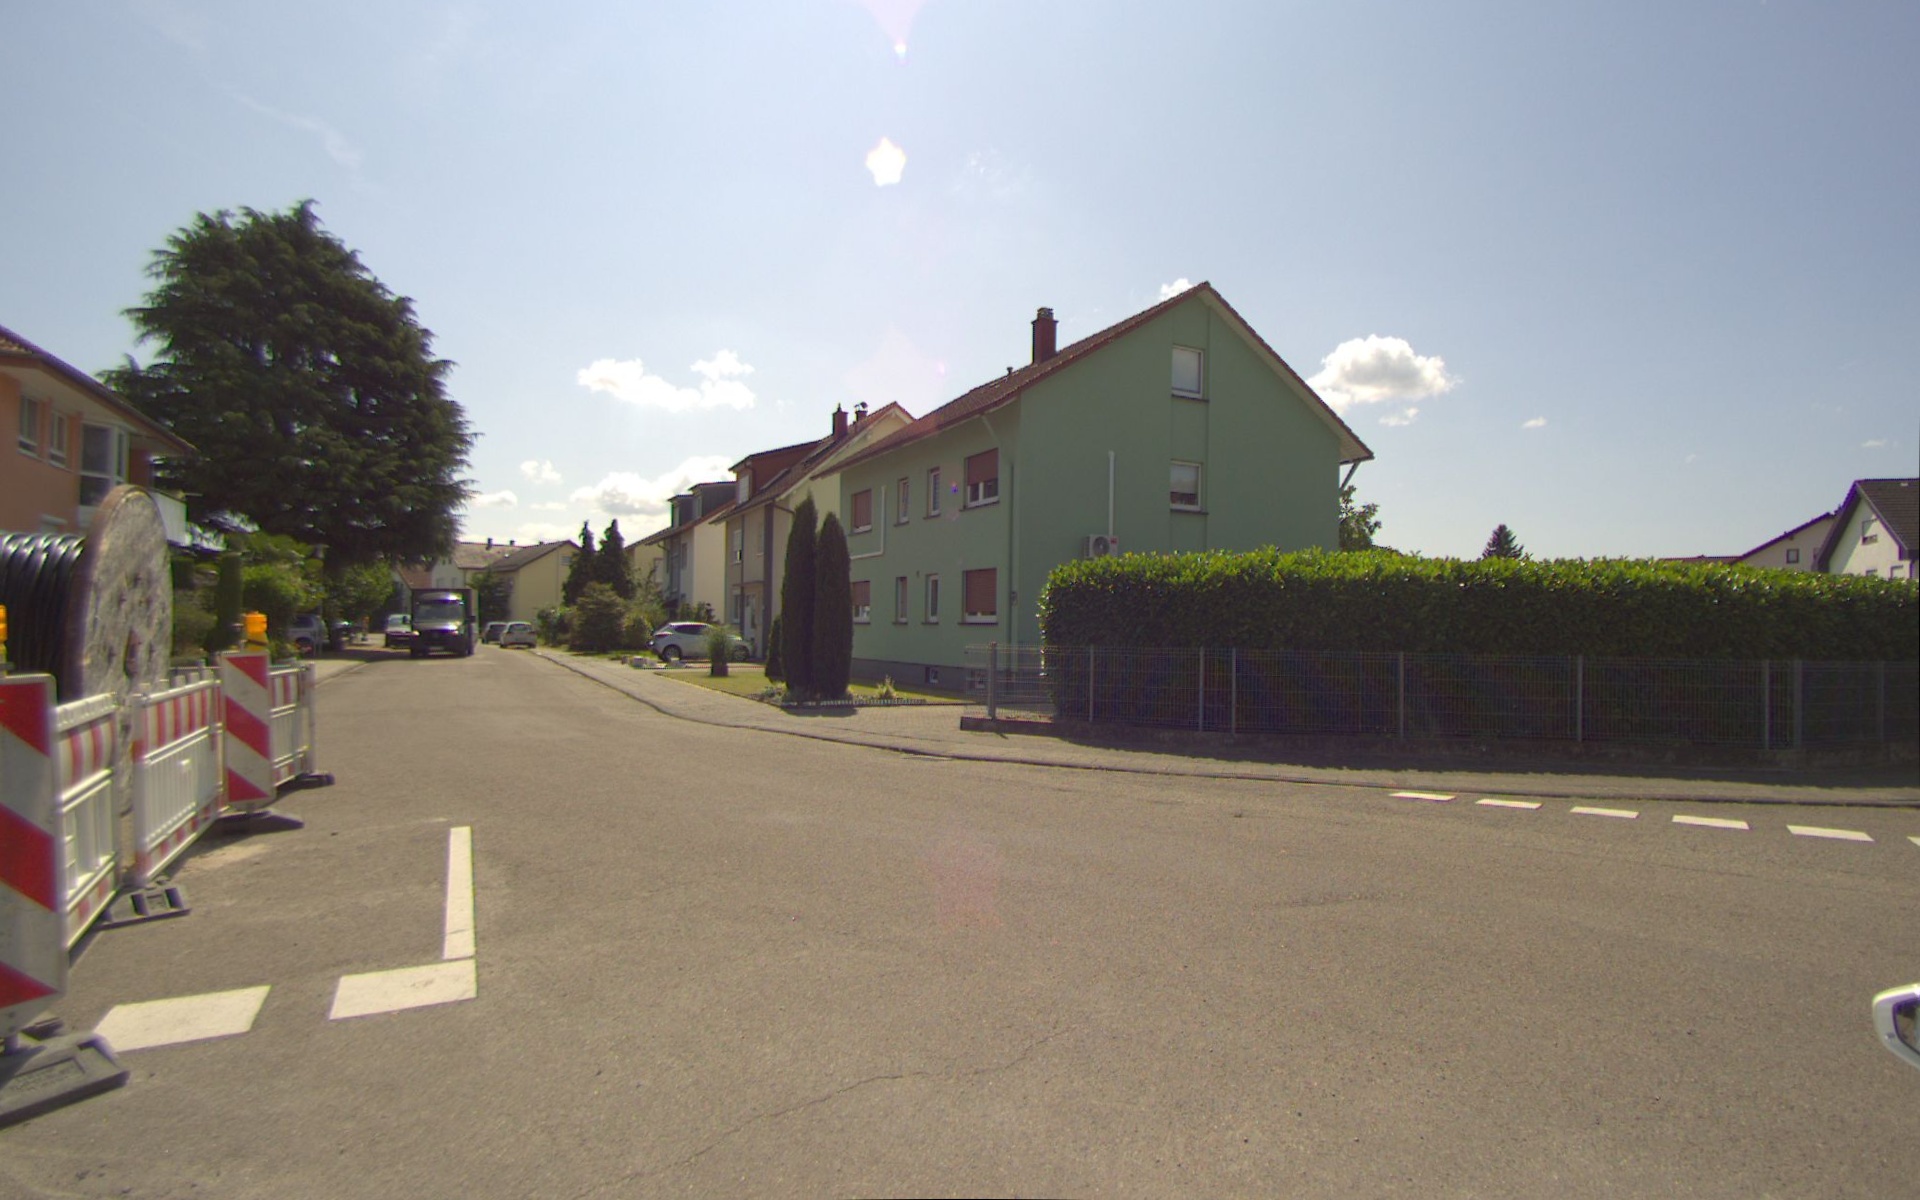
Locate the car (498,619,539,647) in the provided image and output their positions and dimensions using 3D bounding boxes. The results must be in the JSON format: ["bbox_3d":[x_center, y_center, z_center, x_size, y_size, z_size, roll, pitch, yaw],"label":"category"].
[{"bbox_3d":[-25.547,1.889,58.025,1.792,1.514,3.969,2,-2,-29],"label":"car"}]

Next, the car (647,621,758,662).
[{"bbox_3d":[-9.906,1.572,38.618,3.875,1.530,1.762,1,-1,-27],"label":"car"}]

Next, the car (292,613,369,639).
[{"bbox_3d":[-42.559,1.740,68.047,4.149,1.675,1.803,2,-1,-25],"label":"car"}]

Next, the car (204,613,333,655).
[{"bbox_3d":[-28.829,1.423,42.043,4.149,1.675,1.803,2,-1,-25],"label":"car"}]

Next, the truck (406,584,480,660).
[{"bbox_3d":[-21.316,0.874,41.714,2.409,2.825,7.252,-1,0,-25],"label":"truck"}]

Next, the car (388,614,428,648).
[{"bbox_3d":[-30.184,1.686,54.882,1.792,1.786,4.174,2,-2,-29],"label":"car"}]

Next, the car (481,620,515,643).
[{"bbox_3d":[-31.820,2.173,69.087,1.792,1.514,3.969,2,-2,-29],"label":"car"}]
